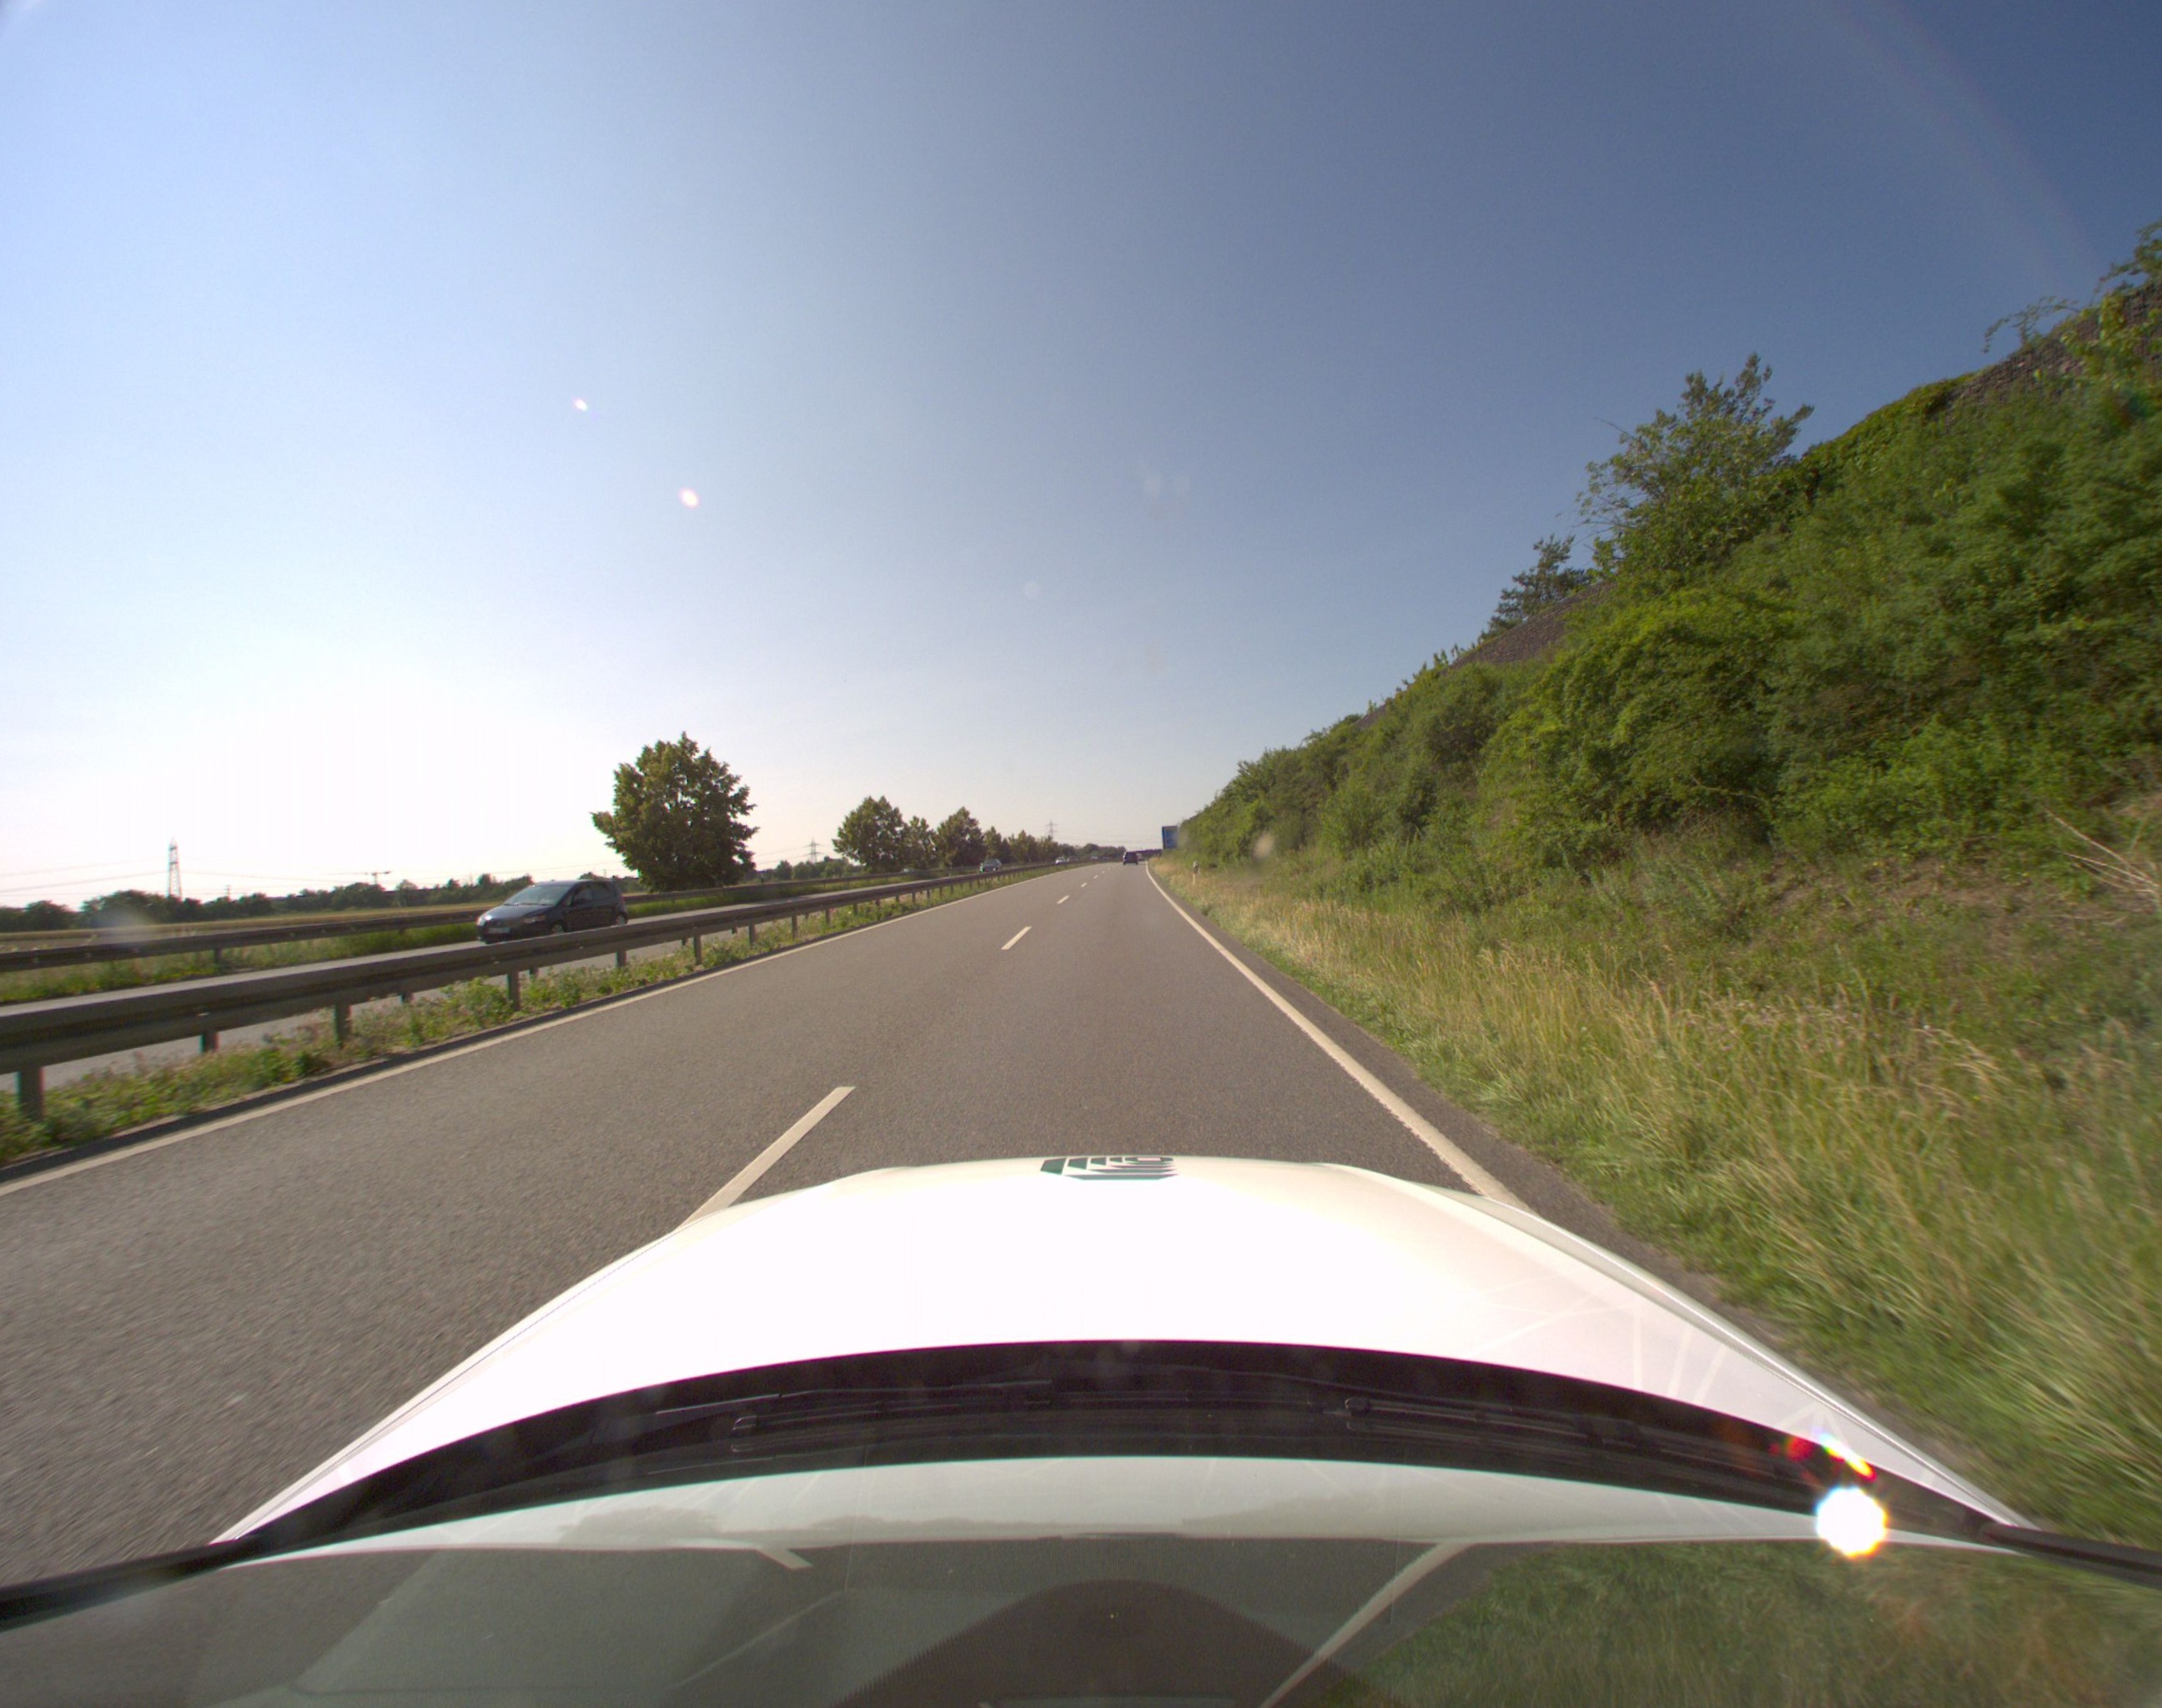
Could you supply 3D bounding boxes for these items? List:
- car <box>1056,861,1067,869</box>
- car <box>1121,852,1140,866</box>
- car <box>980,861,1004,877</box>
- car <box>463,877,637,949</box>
[{"bbox_3d":[-3.715,2.011,154.651,1.682,1.437,3.944,-2,0,4],"label":"car"},{"bbox_3d":[6.010,0.633,98.456,1.840,1.644,4.008,-2,-1,8],"label":"car"},{"bbox_3d":[-9.388,1.581,86.312,1.644,1.553,4.566,0,0,4],"label":"car"},{"bbox_3d":[-13.311,1.420,20.731,1.748,1.533,4.000,0,0,1],"label":"car"}]
